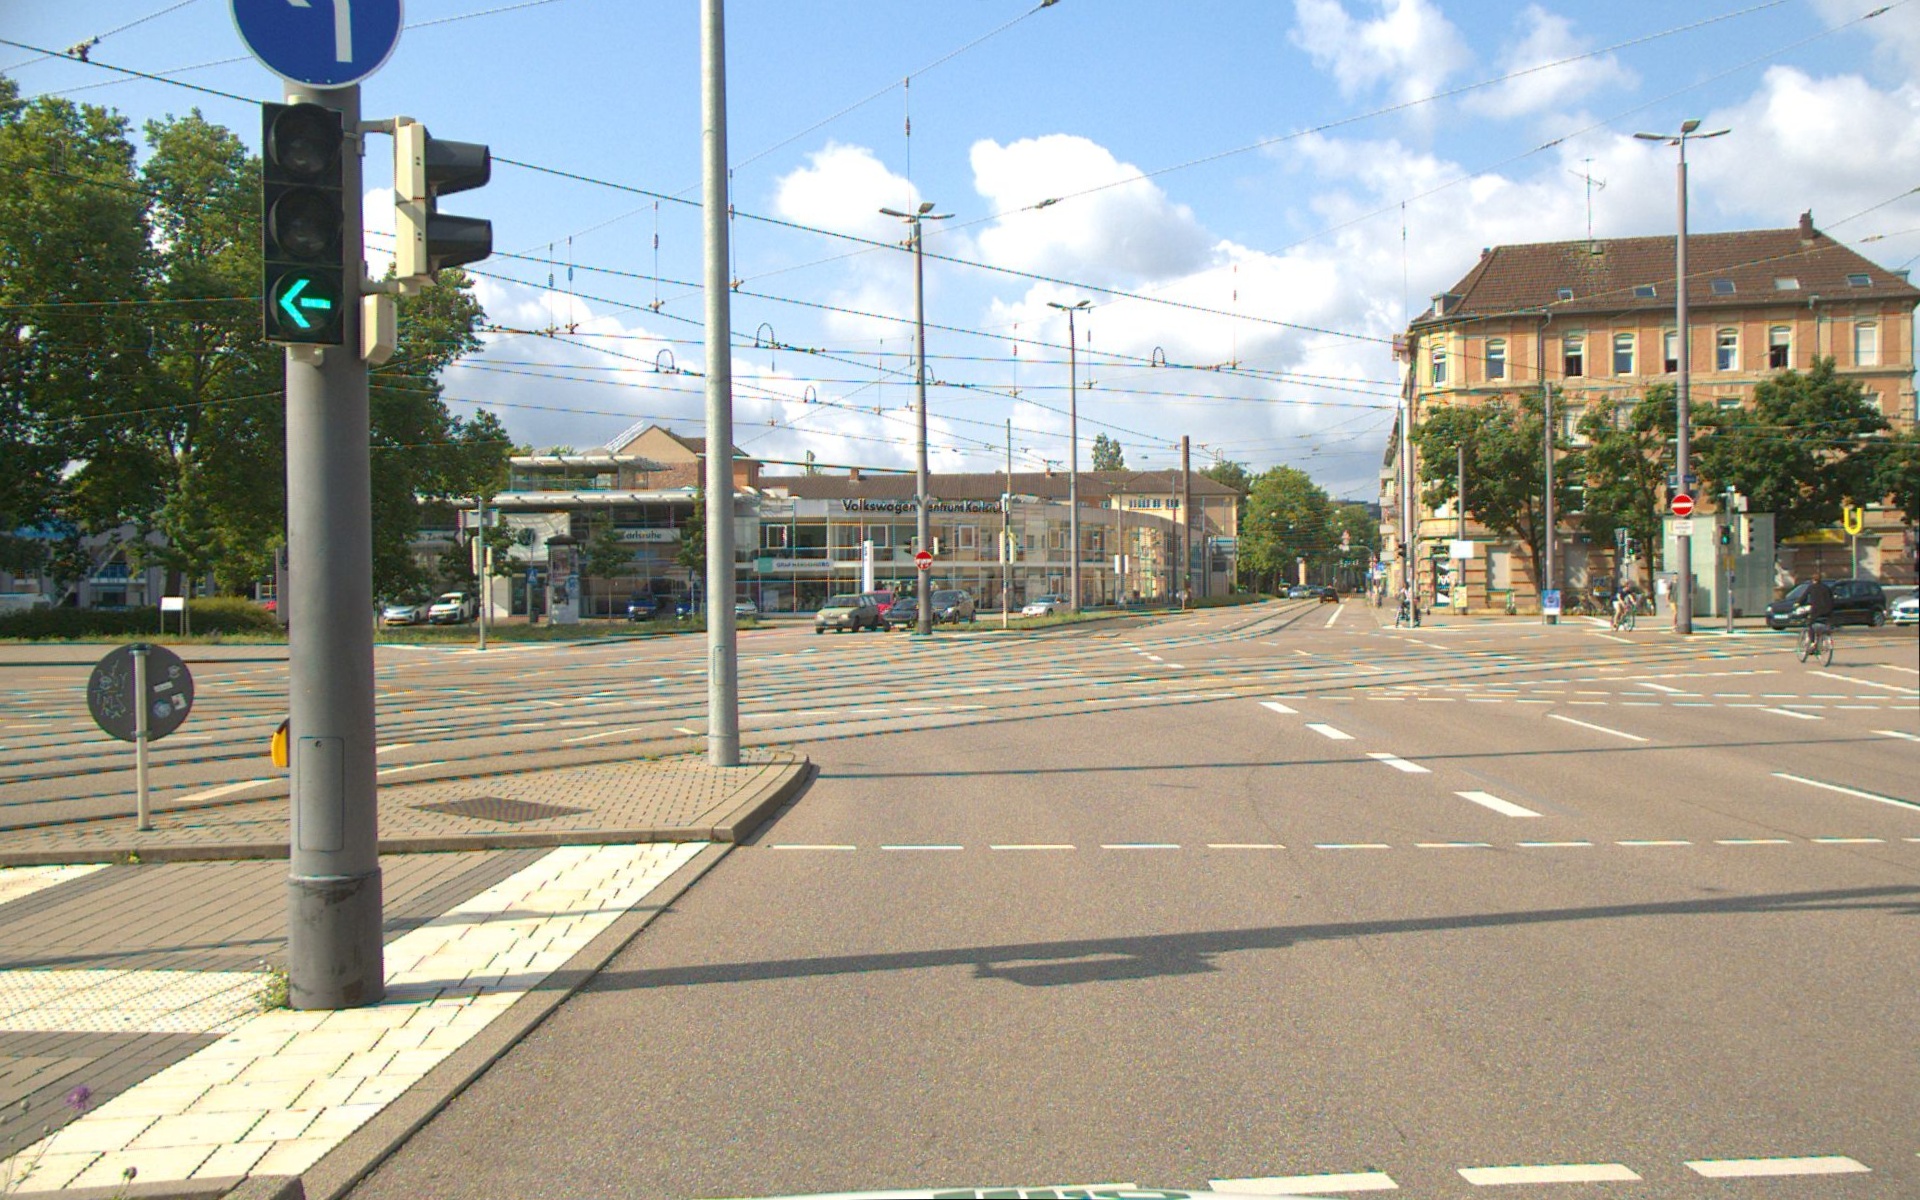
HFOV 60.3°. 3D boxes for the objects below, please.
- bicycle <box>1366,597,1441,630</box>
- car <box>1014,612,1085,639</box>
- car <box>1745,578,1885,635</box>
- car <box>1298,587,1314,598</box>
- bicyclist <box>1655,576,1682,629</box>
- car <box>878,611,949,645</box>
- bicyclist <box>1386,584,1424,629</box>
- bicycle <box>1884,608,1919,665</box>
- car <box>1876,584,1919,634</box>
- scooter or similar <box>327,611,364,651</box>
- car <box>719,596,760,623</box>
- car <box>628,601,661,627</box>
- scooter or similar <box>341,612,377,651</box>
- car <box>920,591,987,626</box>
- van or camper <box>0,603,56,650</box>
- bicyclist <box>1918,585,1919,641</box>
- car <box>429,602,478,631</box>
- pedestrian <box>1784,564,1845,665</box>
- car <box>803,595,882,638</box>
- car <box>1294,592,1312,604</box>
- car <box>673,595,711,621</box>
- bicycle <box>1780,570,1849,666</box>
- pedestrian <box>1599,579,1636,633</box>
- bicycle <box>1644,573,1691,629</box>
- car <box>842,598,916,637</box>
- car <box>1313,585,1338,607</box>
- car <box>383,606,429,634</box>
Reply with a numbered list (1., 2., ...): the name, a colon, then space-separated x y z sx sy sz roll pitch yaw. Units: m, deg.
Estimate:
1. bicycle: 16.968 0.519 63.268 2.623 1.191 0.899 -1 0 -10
2. car: 5.274 1.481 97.096 1.751 1.489 4.453 1 0 43
3. car: 27.839 0.211 53.839 4.278 1.770 1.982 1 0 -28
4. car: 45.412 -0.972 217.048 1.951 1.517 4.004 0 0 11
5. bicyclist: 23.016 0.067 53.747 0.561 1.700 0.655 -1 0 -4
6. car: -1.695 1.024 61.943 1.587 1.182 4.003 1 0 15
7. bicyclist: 16.986 0.256 63.176 1.172 1.687 0.784 -1 0 -10
8. bicycle: 18.352 0.674 30.381 0.973 1.045 3.108 2 -2 -1
9. car: 33.752 0.264 56.635 4.617 1.623 1.982 -2 1 -28
10. scooter or similar: -19.113 0.963 51.459 0.375 1.177 0.923 5 1 45
11. car: -13.401 0.573 100.610 1.880 1.579 4.000 -1 0 1
12. car: -18.904 0.812 99.102 1.885 1.470 3.990 -1 0 -11
13. scooter or similar: -18.598 0.970 51.190 0.374 1.177 0.927 5 1 33
14. car: -0.281 0.406 77.052 1.952 1.579 4.002 1 0 18
15. van or camper: -53.833 1.420 91.993 5.756 2.512 2.393 1 0 0
16. bicyclist: 18.370 0.228 30.259 0.970 1.045 1.214 2 -3 -2
17. car: -30.412 0.976 99.444 2.027 1.632 3.996 -1 0 -5
18. pedestrian: 16.306 0.273 31.590 0.972 1.873 0.996 1 0 24
19. car: -4.401 0.611 62.519 1.782 1.539 4.003 1 0 15
20. car: 42.055 -0.247 202.705 1.951 1.355 4.004 -1 0 10
21. car: -15.927 0.478 98.537 1.882 1.470 3.996 -1 0 -4
22. bicycle: 16.298 0.333 31.598 0.985 1.755 2.468 1 0 24
23. pedestrian: 22.909 0.213 57.660 0.850 1.841 0.884 1 0 -13
24. bicycle: 23.014 0.027 53.815 0.715 1.808 1.636 -1 0 -4
25. car: -3.332 0.698 68.705 1.951 1.545 4.003 1 0 15
26. car: 34.218 -0.367 154.958 1.951 2.049 4.002 -1 0 17
27. car: -33.264 1.175 99.428 1.957 1.601 3.992 1 0 -9
